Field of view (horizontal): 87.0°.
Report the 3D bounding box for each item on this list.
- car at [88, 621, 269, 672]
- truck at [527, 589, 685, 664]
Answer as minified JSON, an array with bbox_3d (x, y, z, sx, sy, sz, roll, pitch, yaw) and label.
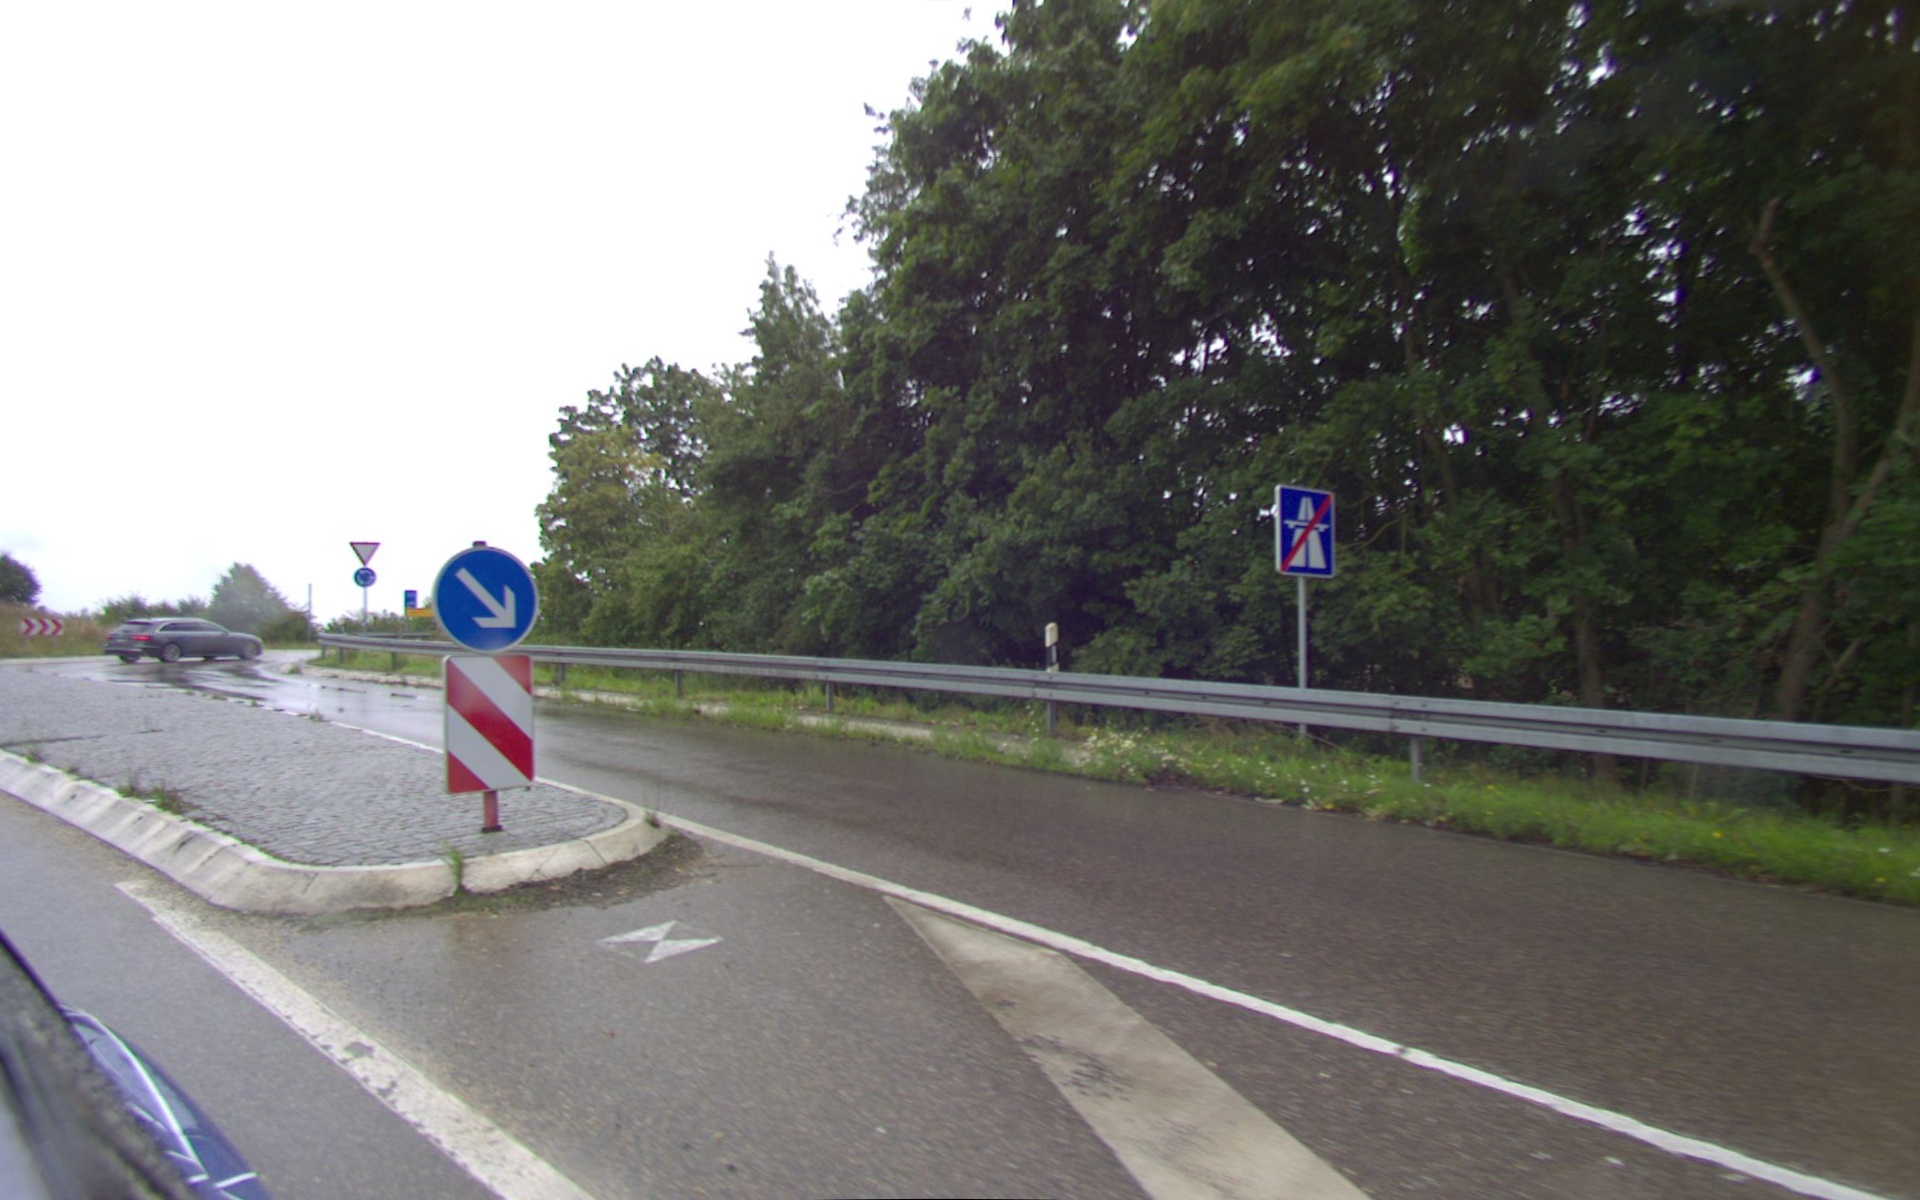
[{"bbox_3d":[-25.656,1.460,33.447,1.893,1.379,4.542,1,1,15],"label":"car"},{"bbox_3d":[-20.123,1.650,58.155,3.036,3.881,8.732,-5,-5,29],"label":"truck"}]
